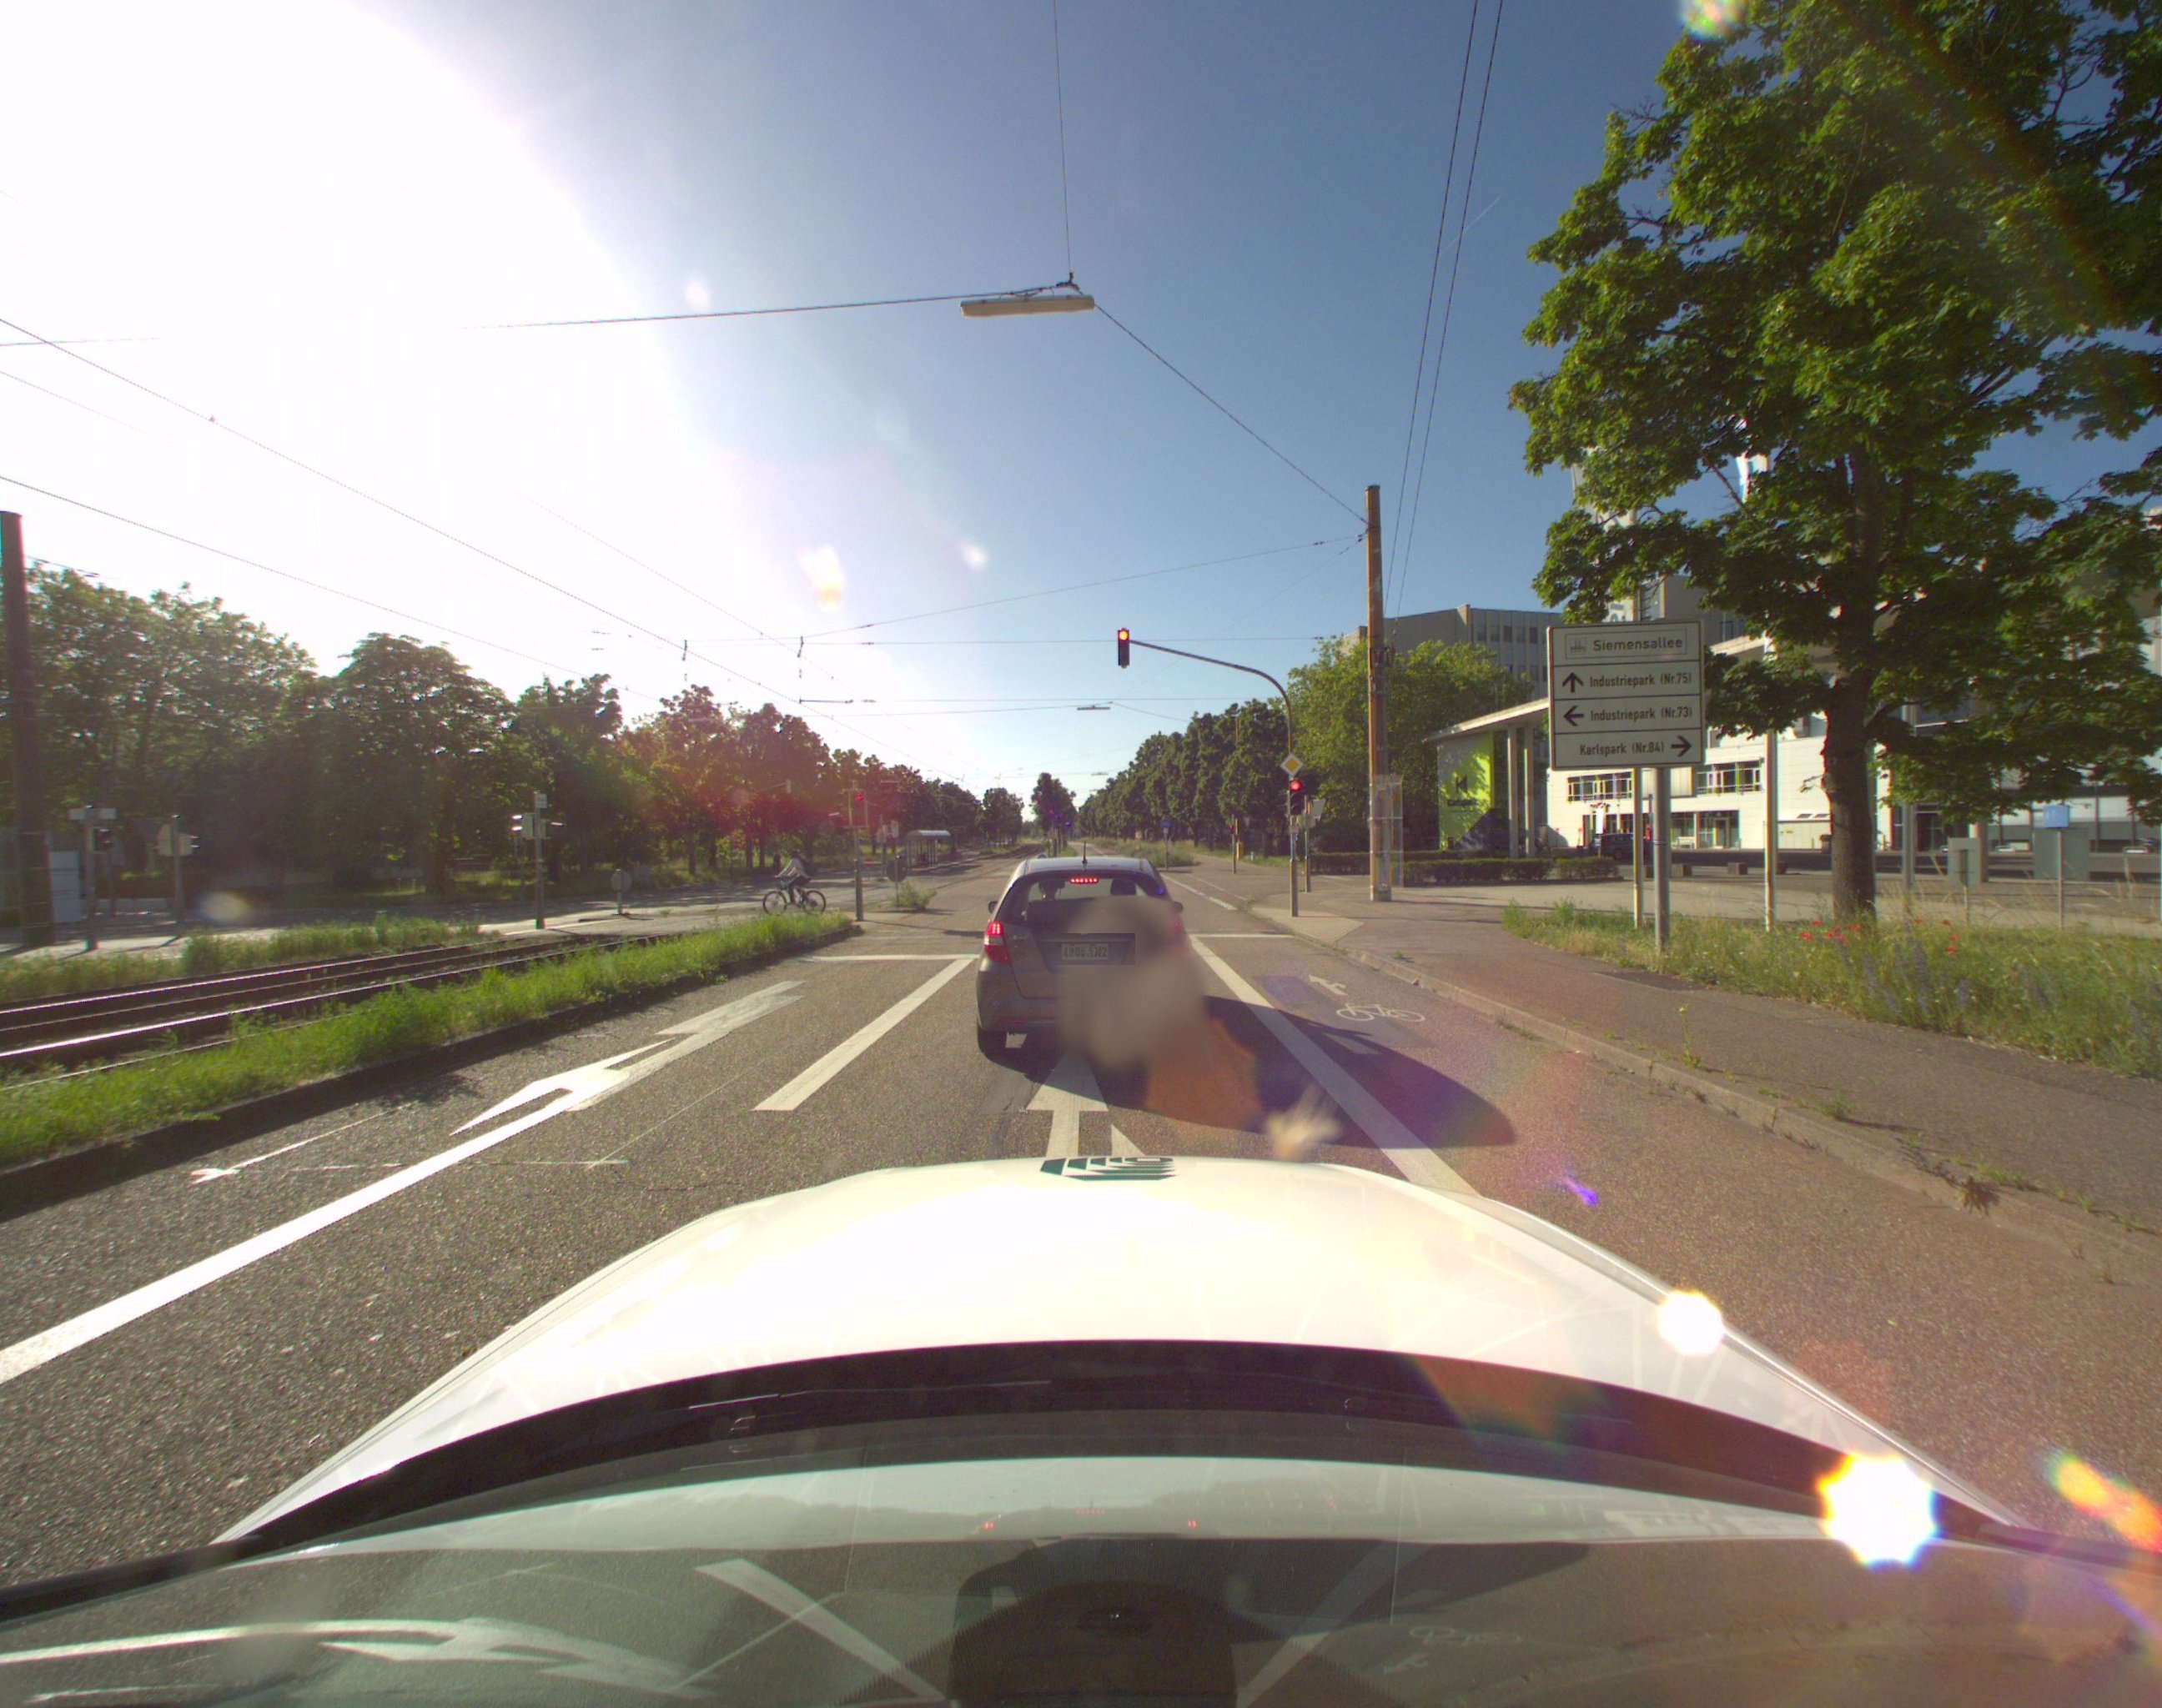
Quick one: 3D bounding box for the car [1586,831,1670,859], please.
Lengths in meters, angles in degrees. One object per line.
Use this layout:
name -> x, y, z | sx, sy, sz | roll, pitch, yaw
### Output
car -> 33.320, -0.563, 49.640 | 3.984, 1.578, 1.949 | -1, 0, -8

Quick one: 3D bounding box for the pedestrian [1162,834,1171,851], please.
pedestrian -> 9.975, -1.328, 95.380 | 0.880, 1.884, 0.875 | -2, 1, -2

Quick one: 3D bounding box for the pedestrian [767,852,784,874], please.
pedestrian -> -24.218, 0.724, 64.649 | 0.751, 1.734, 0.943 | -1, 1, 30

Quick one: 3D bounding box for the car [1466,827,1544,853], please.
car -> 31.108, -1.045, 59.770 | 4.888, 1.757, 2.082 | -2, 1, -14

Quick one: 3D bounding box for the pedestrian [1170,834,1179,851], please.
pedestrian -> 10.912, -1.335, 95.375 | 0.880, 1.884, 0.875 | -2, 1, -2

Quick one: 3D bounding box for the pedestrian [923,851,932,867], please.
pedestrian -> -12.443, 0.379, 66.011 | 0.562, 1.257, 0.581 | -4, 0, 1

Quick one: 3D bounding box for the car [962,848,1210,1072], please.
car -> 0.091, 0.737, 7.492 | 1.694, 1.524, 3.711 | -1, 0, 2

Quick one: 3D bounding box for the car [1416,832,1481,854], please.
car -> 30.047, -0.921, 66.663 | 4.448, 1.686, 1.892 | -2, 1, -4

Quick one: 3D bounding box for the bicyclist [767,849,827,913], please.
bicyclist -> -7.273, 0.687, 20.883 | 1.228, 1.593, 0.805 | -1, 0, 0

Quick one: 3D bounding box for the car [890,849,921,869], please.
car -> -18.151, 0.479, 84.267 | 2.087, 1.810, 4.792 | -3, 1, 0

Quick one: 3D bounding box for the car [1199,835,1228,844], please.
car -> 23.464, -2.550, 144.253 | 4.623, 1.555, 1.997 | -2, 1, -5

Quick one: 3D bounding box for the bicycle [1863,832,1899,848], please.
bicycle -> 52.270, -0.892, 53.240 | 0.565, 1.004, 1.615 | -2, 1, -13

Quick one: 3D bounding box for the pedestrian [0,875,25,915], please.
pedestrian -> -49.258, 1.882, 37.261 | 0.943, 1.787, 0.824 | -2, 1, 15

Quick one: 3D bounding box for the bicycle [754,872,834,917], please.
bicycle -> -7.349, 1.034, 20.896 | 1.767, 1.102, 0.700 | -1, 0, 4

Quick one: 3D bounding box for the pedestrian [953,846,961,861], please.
pedestrian -> -12.264, -0.049, 80.580 | 0.542, 1.447, 0.559 | -2, 0, 1
